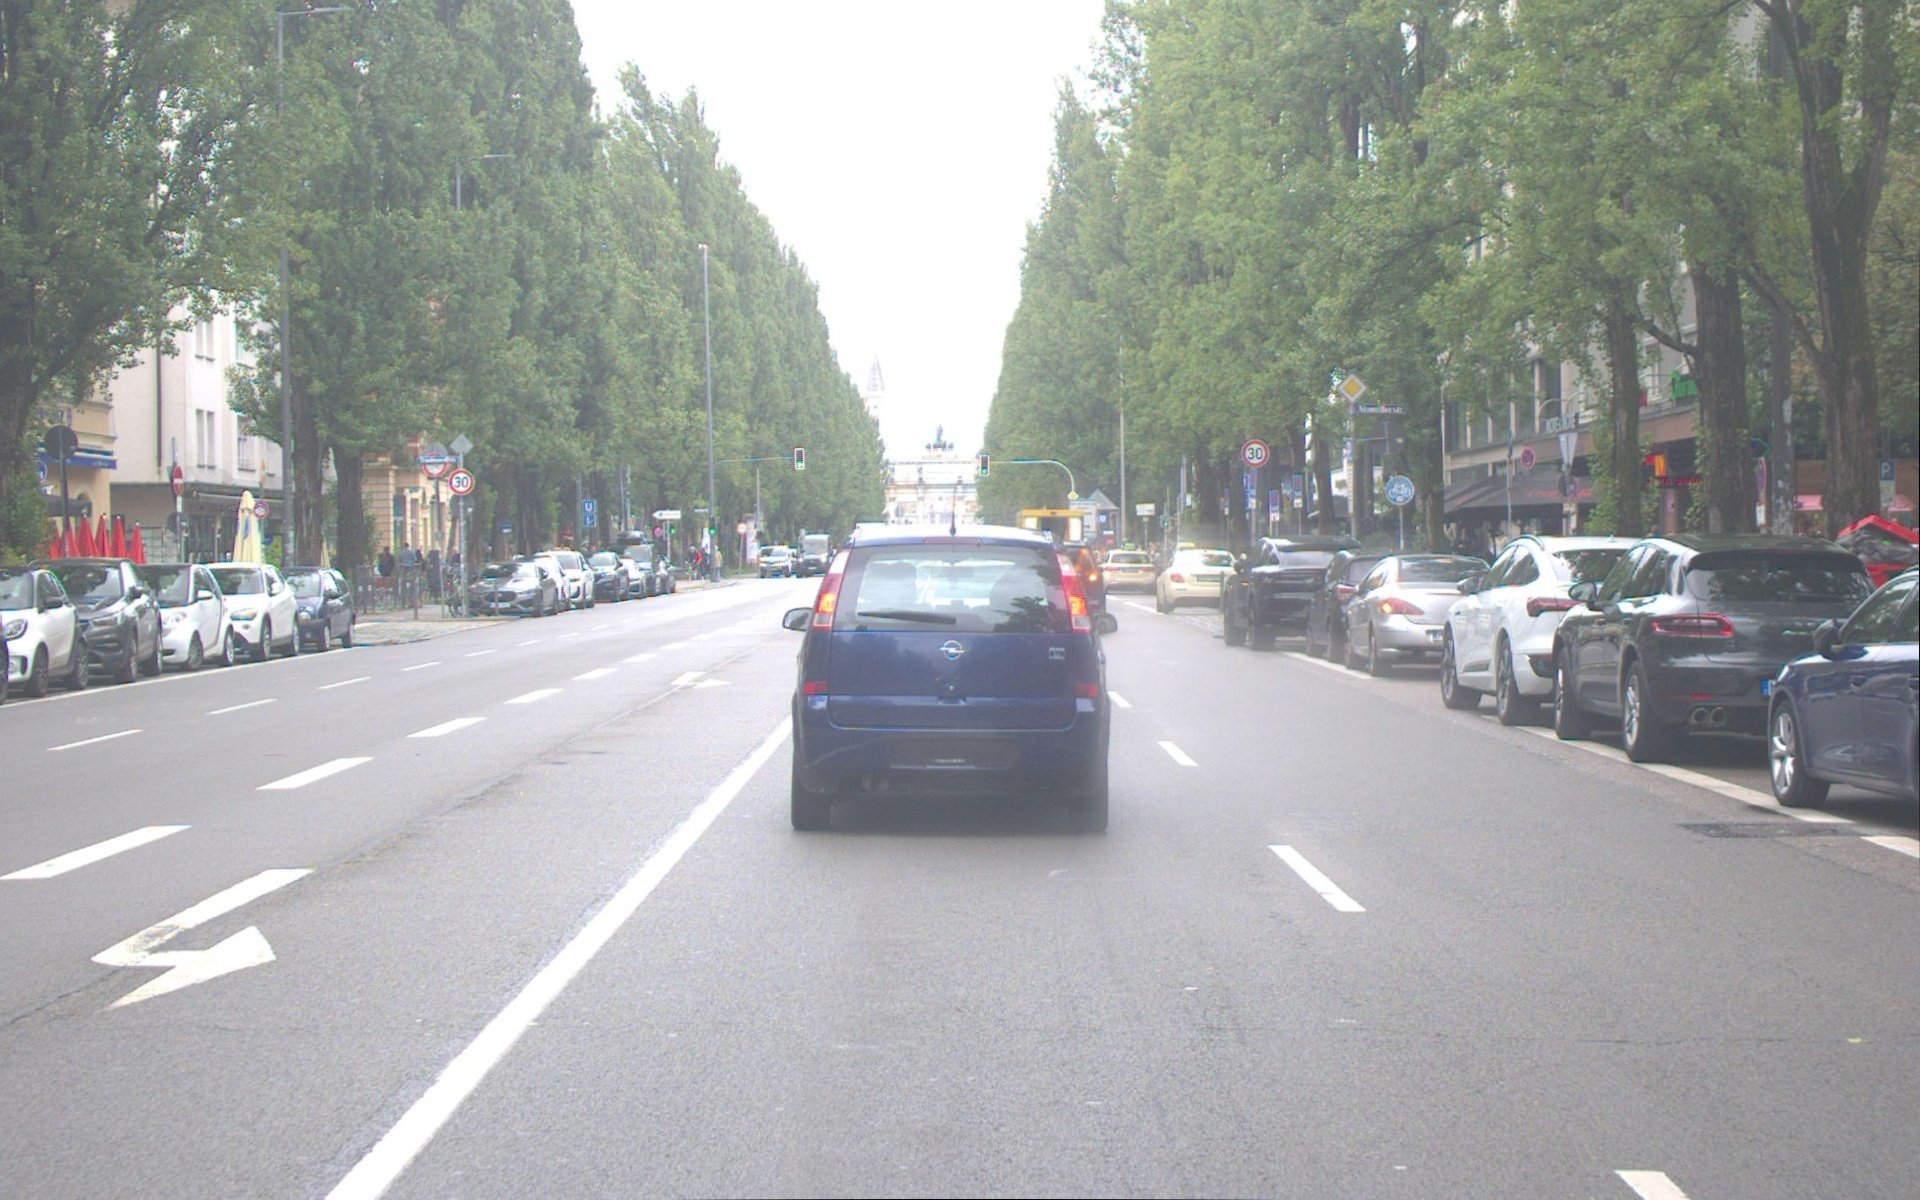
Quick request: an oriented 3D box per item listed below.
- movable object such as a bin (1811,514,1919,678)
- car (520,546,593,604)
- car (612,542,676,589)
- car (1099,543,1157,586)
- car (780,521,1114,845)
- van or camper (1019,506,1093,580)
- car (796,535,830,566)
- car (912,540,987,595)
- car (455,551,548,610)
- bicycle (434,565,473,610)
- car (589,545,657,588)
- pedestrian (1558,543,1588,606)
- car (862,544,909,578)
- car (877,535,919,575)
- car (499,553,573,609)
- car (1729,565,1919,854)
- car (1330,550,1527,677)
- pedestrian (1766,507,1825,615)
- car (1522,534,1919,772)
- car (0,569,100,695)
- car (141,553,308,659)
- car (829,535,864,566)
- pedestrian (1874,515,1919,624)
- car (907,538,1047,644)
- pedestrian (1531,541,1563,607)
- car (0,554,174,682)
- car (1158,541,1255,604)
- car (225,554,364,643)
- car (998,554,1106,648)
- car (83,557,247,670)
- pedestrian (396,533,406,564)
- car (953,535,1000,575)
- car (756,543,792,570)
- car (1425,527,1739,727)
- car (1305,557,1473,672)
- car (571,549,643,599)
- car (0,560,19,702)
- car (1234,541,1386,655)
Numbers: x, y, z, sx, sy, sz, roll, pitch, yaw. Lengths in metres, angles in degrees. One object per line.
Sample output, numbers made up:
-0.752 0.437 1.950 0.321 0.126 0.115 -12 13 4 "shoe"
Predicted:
9.840 -0.059 36.640 1.032 1.697 1.587 -1 1 -4 "movable object such as a bin"
-11.360 -0.721 96.989 1.654 1.556 3.458 -1 1 0 "car"
-11.541 -1.275 125.683 1.993 1.656 4.000 -1 1 -1 "car"
5.456 -1.184 112.176 1.669 1.348 4.104 -1 1 0 "car"
-0.106 0.379 19.367 1.681 1.635 4.000 0 1 -1 "car"
3.407 -2.043 123.135 2.477 2.572 5.844 -1 1 0 "van or camper"
-8.491 -2.874 199.208 1.835 1.733 3.779 -1 1 -1 "car"
-0.317 -0.916 95.786 1.993 1.492 4.000 -1 1 -1 "car"
-11.434 -0.512 85.988 1.830 1.415 3.811 -1 1 0 "car"
-11.841 -0.298 80.392 0.665 1.002 2.462 -1 1 -4 "bicycle"
-11.267 -1.129 115.117 1.961 1.394 3.779 -1 1 -1 "car"
14.790 -0.621 82.941 0.640 1.521 0.484 -1 1 0 "pedestrian"
-3.140 -1.674 145.438 1.961 1.394 3.779 -1 1 -1 "car"
-2.771 -2.028 154.629 1.835 1.755 3.779 -1 1 -1 "car"
-11.349 -0.519 92.129 1.547 1.448 3.458 -1 1 0 "car"
5.585 0.533 18.321 1.749 1.400 4.465 -1 1 -3 "car"
5.495 0.122 40.763 1.670 1.401 4.128 1 1 -1 "car"
14.053 -0.658 57.826 0.792 1.806 0.682 -1 1 -2 "pedestrian"
5.535 0.313 25.230 1.993 1.560 4.484 -1 1 -1 "car"
-11.461 0.363 41.137 1.631 1.423 2.983 -1 1 -1 "car"
-11.377 0.068 53.405 1.835 1.541 4.087 -1 1 -2 "car"
-6.320 -2.767 191.649 1.835 1.671 3.779 -1 1 -1 "car"
15.248 -0.489 55.492 0.727 1.745 0.860 1 0 0 "pedestrian"
0.215 -0.168 51.825 1.993 1.492 4.000 -1 1 -1 "car"
13.547 -0.599 79.387 0.640 1.521 0.484 -1 1 0 "pedestrian"
-11.516 0.195 45.017 1.840 1.560 4.180 -1 1 -6 "car"
5.541 -0.636 77.685 1.897 1.358 3.900 -1 1 0 "car"
-11.340 -0.042 58.726 1.586 1.442 3.390 -1 1 2 "car"
1.591 -0.003 60.520 1.706 1.568 4.000 1 1 -1 "car"
-11.407 0.170 49.493 1.573 1.528 2.922 -1 1 2 "car"
-19.587 -1.815 120.481 0.289 1.086 0.258 -1 1 5 "pedestrian"
0.705 -1.948 148.245 1.961 1.671 3.779 -1 1 -1 "car"
-11.108 -2.597 205.845 1.961 1.543 3.779 -1 1 -1 "car"
5.391 0.184 30.388 1.827 1.615 4.748 0 1 -1 "car"
5.594 0.156 45.169 1.681 1.410 3.583 1 1 -1 "car"
-11.157 -0.846 108.917 1.961 1.525 4.000 -1 1 -2 "car"
-11.322 0.378 36.323 1.697 1.545 4.083 -1 1 -1 "car"
5.117 -0.063 50.768 1.797 1.588 4.104 1 1 0 "car"
